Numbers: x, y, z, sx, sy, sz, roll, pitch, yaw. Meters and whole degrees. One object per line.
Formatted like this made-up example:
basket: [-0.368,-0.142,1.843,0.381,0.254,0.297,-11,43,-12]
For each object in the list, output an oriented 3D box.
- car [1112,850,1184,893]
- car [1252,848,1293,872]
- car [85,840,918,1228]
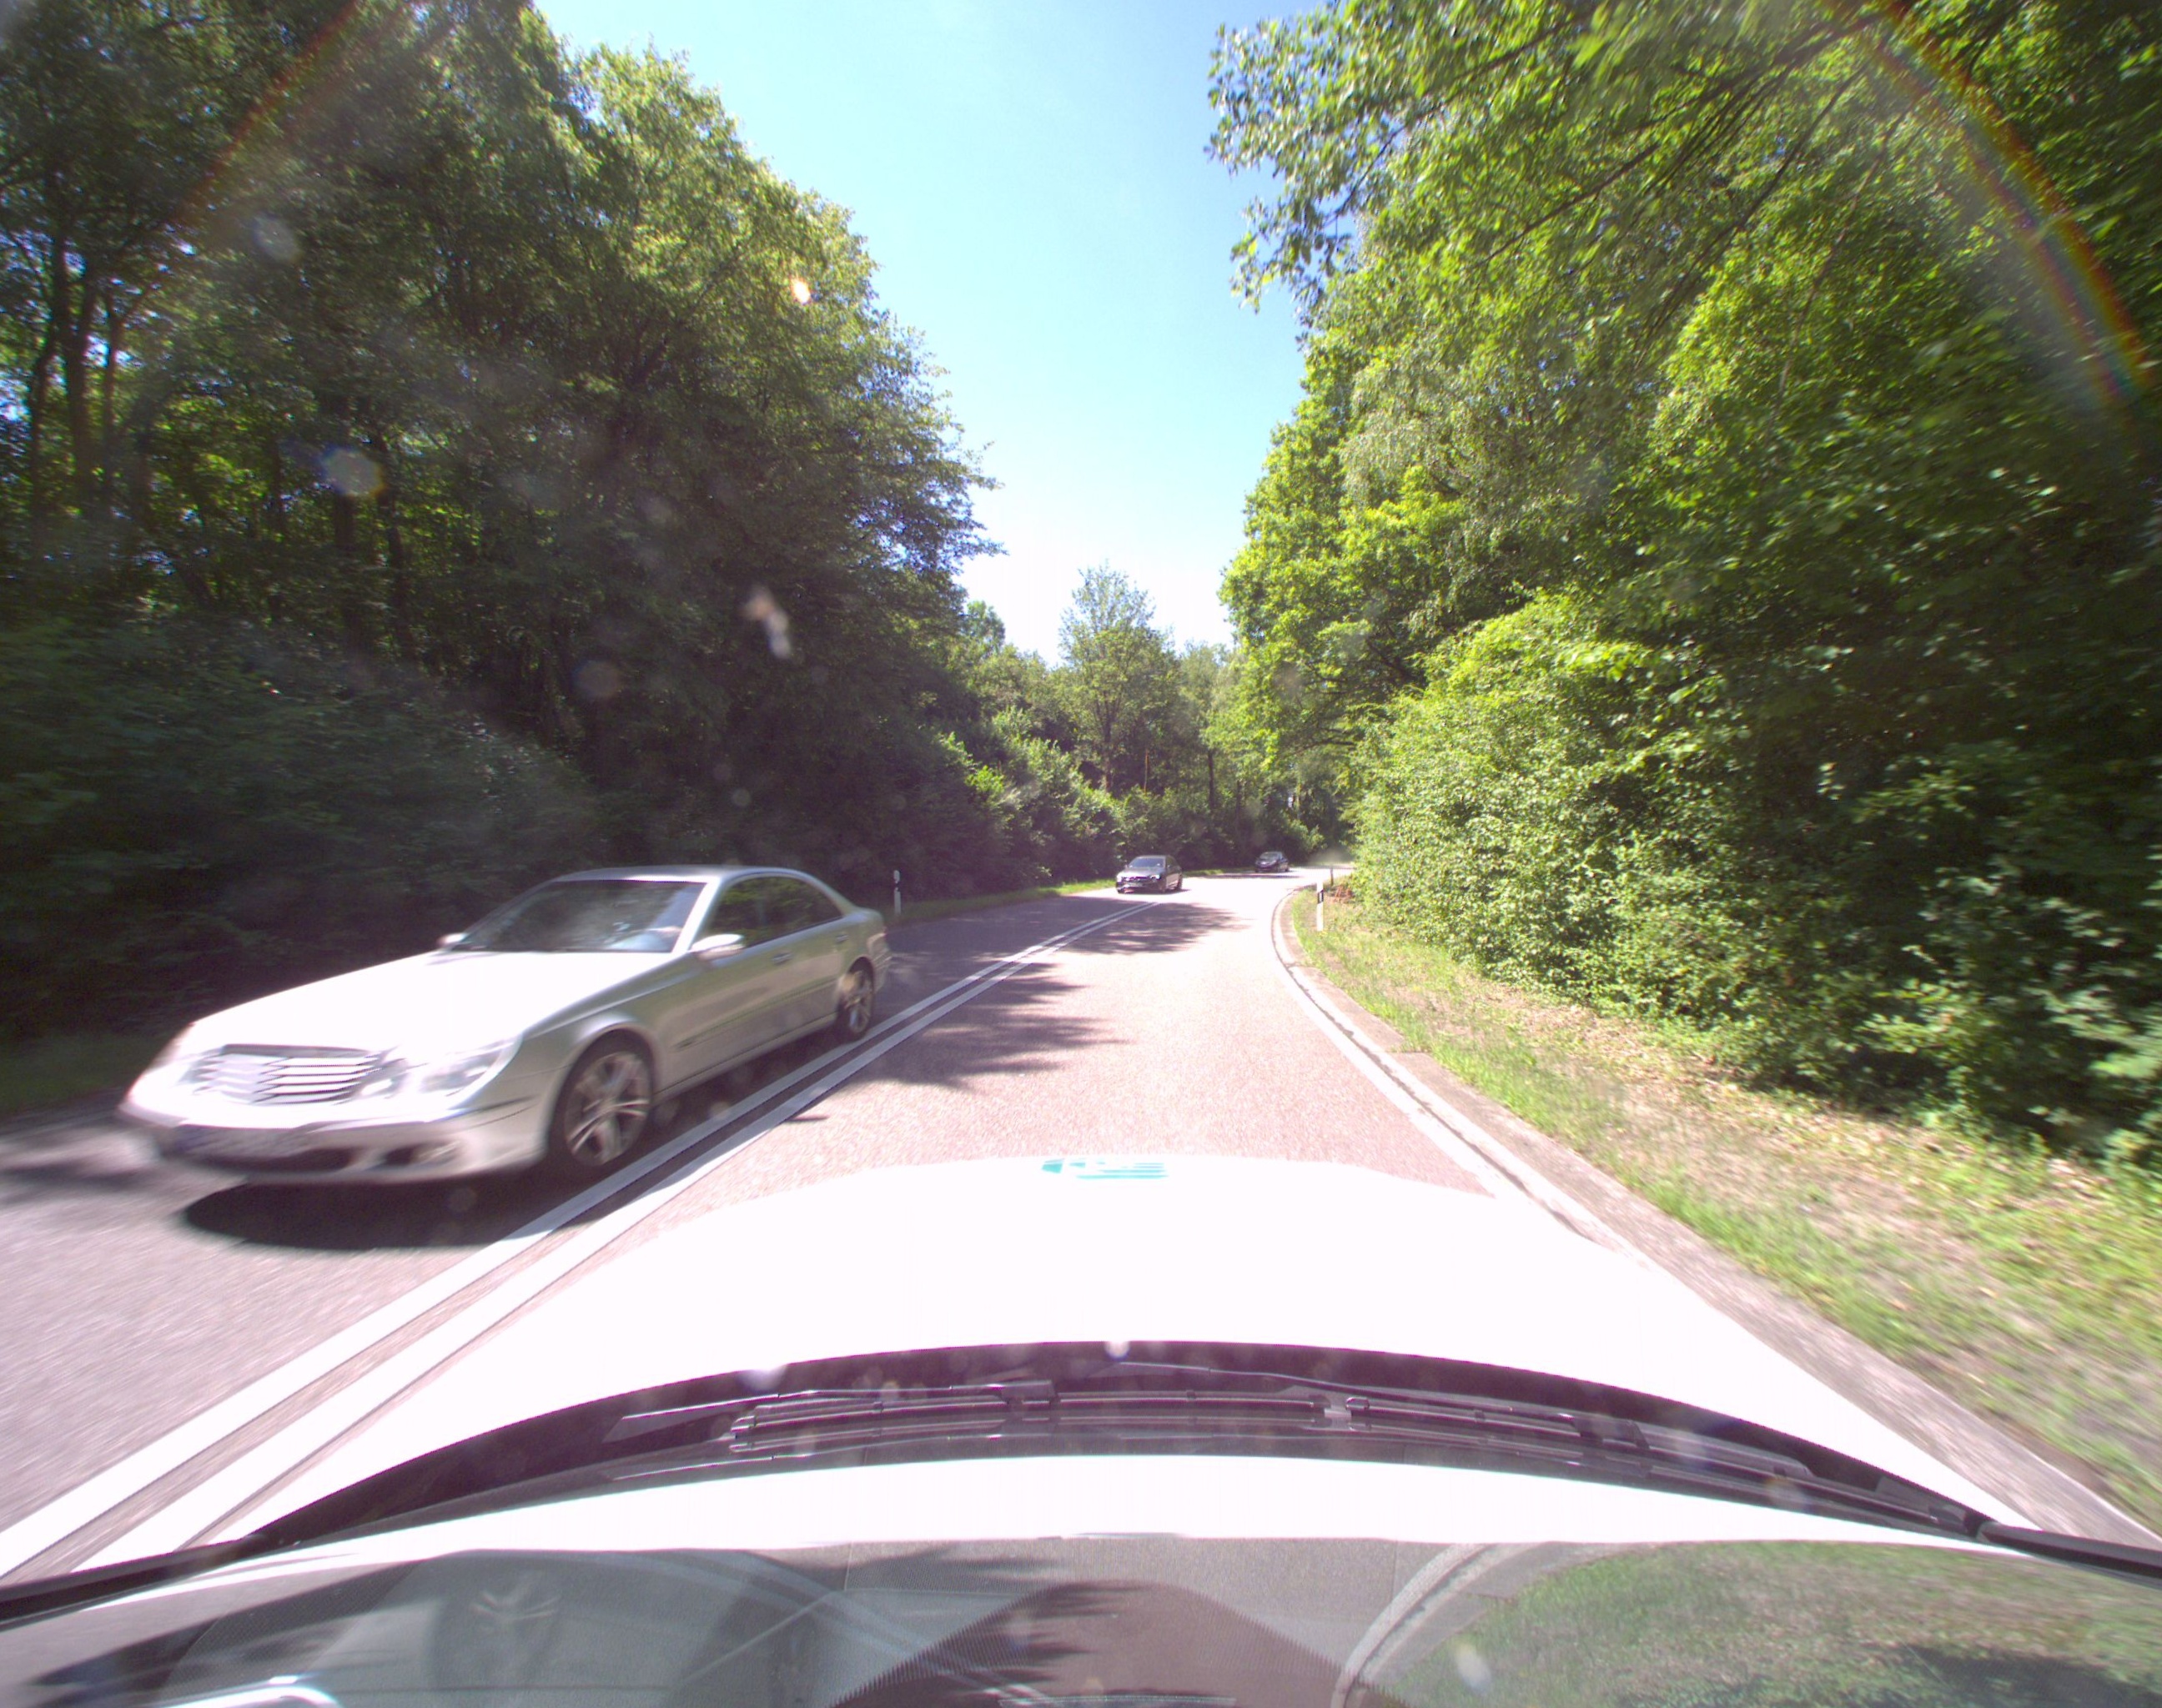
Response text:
car: [2.715,0.660,32.033,1.742,1.574,4.388,-1,0,19]
car: [13.586,0.430,57.638,1.661,1.574,3.919,-2,-1,31]
car: [-2.864,0.742,5.620,1.835,1.486,4.776,-2,-1,9]
